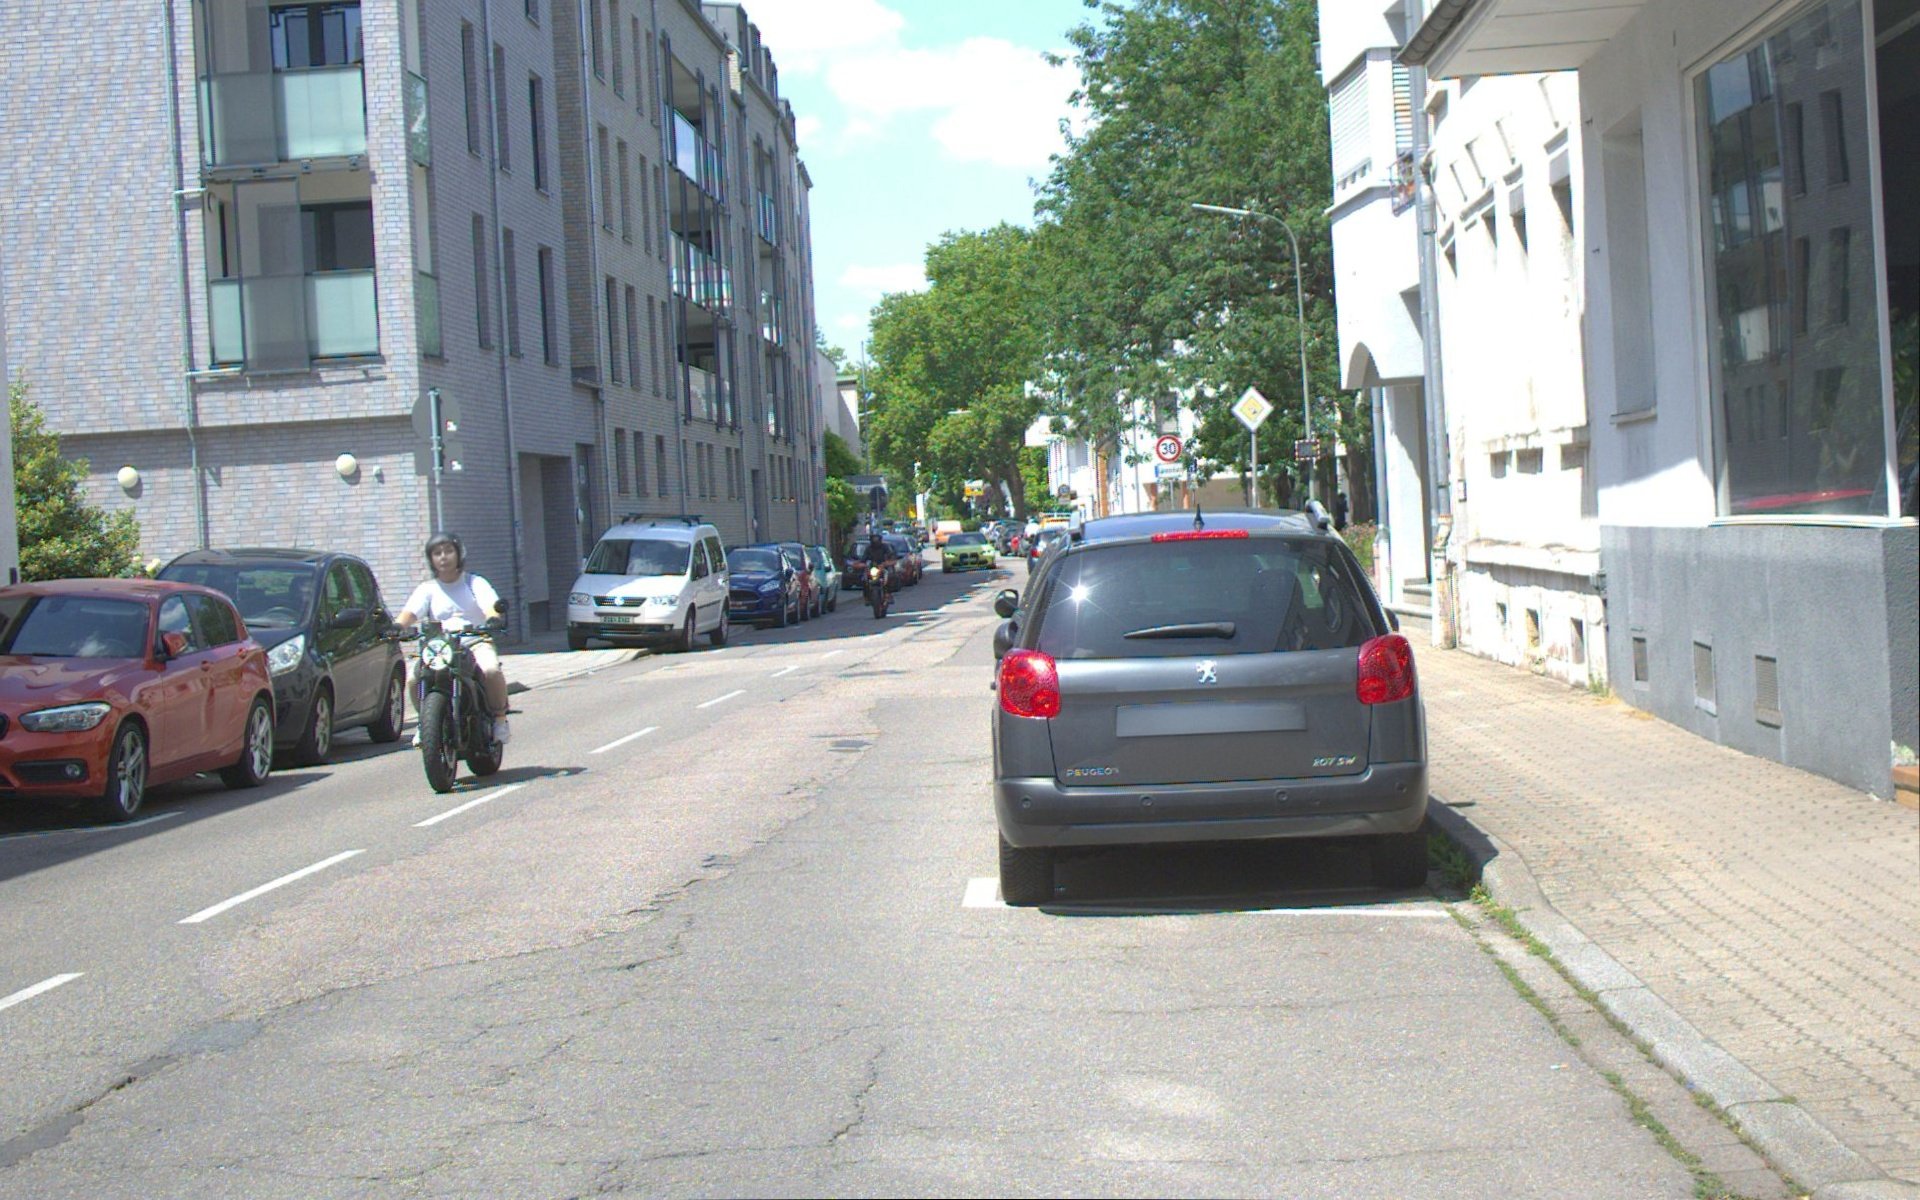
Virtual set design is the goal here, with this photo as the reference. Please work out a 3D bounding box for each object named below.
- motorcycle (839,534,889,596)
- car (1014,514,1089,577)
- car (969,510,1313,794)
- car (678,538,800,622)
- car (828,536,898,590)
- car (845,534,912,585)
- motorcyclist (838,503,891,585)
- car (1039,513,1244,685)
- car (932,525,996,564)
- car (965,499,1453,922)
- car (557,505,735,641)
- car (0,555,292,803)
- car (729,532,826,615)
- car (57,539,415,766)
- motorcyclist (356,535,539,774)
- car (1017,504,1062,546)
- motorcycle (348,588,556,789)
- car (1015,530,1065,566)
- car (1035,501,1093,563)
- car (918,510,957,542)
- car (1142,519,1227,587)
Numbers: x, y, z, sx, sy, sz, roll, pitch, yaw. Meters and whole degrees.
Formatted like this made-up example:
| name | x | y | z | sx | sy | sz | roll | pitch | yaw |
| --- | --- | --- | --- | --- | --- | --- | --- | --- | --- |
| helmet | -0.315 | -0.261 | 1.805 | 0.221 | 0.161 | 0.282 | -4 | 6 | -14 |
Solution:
| name | x | y | z | sx | sy | sz | roll | pitch | yaw |
| --- | --- | --- | --- | --- | --- | --- | --- | --- | --- |
| motorcycle | -1.798 | -0.663 | 64.497 | 0.688 | 1.118 | 2.027 | -2 | 1 | 5 |
| car | 2.252 | -1.345 | 83.706 | 1.715 | 1.397 | 4.000 | -2 | 2 | 3 |
| car | 1.016 | 0.228 | 20.041 | 1.729 | 1.415 | 4.545 | -2 | 1 | 2 |
| car | -3.980 | -0.387 | 62.515 | 1.723 | 1.451 | 4.005 | 0 | 1 | 3 |
| car | -2.741 | -1.073 | 97.737 | 1.732 | 1.437 | 4.000 | -2 | 1 | 2 |
| car | -2.417 | -1.214 | 102.933 | 1.732 | 1.437 | 4.000 | -2 | 1 | 2 |
| motorcyclist | -1.789 | -1.050 | 64.524 | 0.822 | 1.504 | 1.056 | -2 | 1 | 5 |
| car | 1.554 | -0.045 | 30.373 | 1.618 | 1.381 | 3.539 | -2 | 1 | 1 |
| car | 0.161 | -2.016 | 124.203 | 1.994 | 1.376 | 4.392 | 0 | 1 | 4 |
| car | 0.919 | 0.371 | 14.638 | 1.709 | 1.503 | 4.000 | -2 | 1 | 0 |
| car | -4.532 | -0.434 | 50.174 | 1.757 | 1.885 | 4.336 | 1 | 1 | 6 |
| car | -5.867 | 0.457 | 22.402 | 1.834 | 1.412 | 4.289 | -2 | 1 | 5 |
| car | -3.583 | -0.546 | 67.972 | 1.591 | 1.548 | 3.571 | -1 | 1 | 2 |
| car | -5.646 | 0.352 | 27.286 | 1.795 | 1.641 | 3.945 | -1 | 1 | 3 |
| motorcyclist | -3.290 | 0.333 | 22.188 | 0.916 | 1.475 | 1.203 | -2 | 1 | 3 |
| car | 3.217 | -3.051 | 140.016 | 1.711 | 1.628 | 3.704 | -2 | 1 | 0 |
| motorcycle | -3.251 | 0.540 | 22.225 | 0.896 | 1.172 | 2.208 | -2 | 1 | 3 |
| car | 3.757 | -2.465 | 162.923 | 1.993 | 1.612 | 4.001 | -1 | 1 | -4 |
| car | 3.565 | -2.341 | 117.143 | 1.839 | 2.006 | 4.000 | -2 | 2 | 3 |
| car | -1.501 | -4.897 | 227.387 | 2.156 | 2.007 | 4.001 | -2 | 1 | -5 |
| car | 5.224 | -1.106 | 80.304 | 1.692 | 1.415 | 4.000 | -4 | 1 | 1 |
